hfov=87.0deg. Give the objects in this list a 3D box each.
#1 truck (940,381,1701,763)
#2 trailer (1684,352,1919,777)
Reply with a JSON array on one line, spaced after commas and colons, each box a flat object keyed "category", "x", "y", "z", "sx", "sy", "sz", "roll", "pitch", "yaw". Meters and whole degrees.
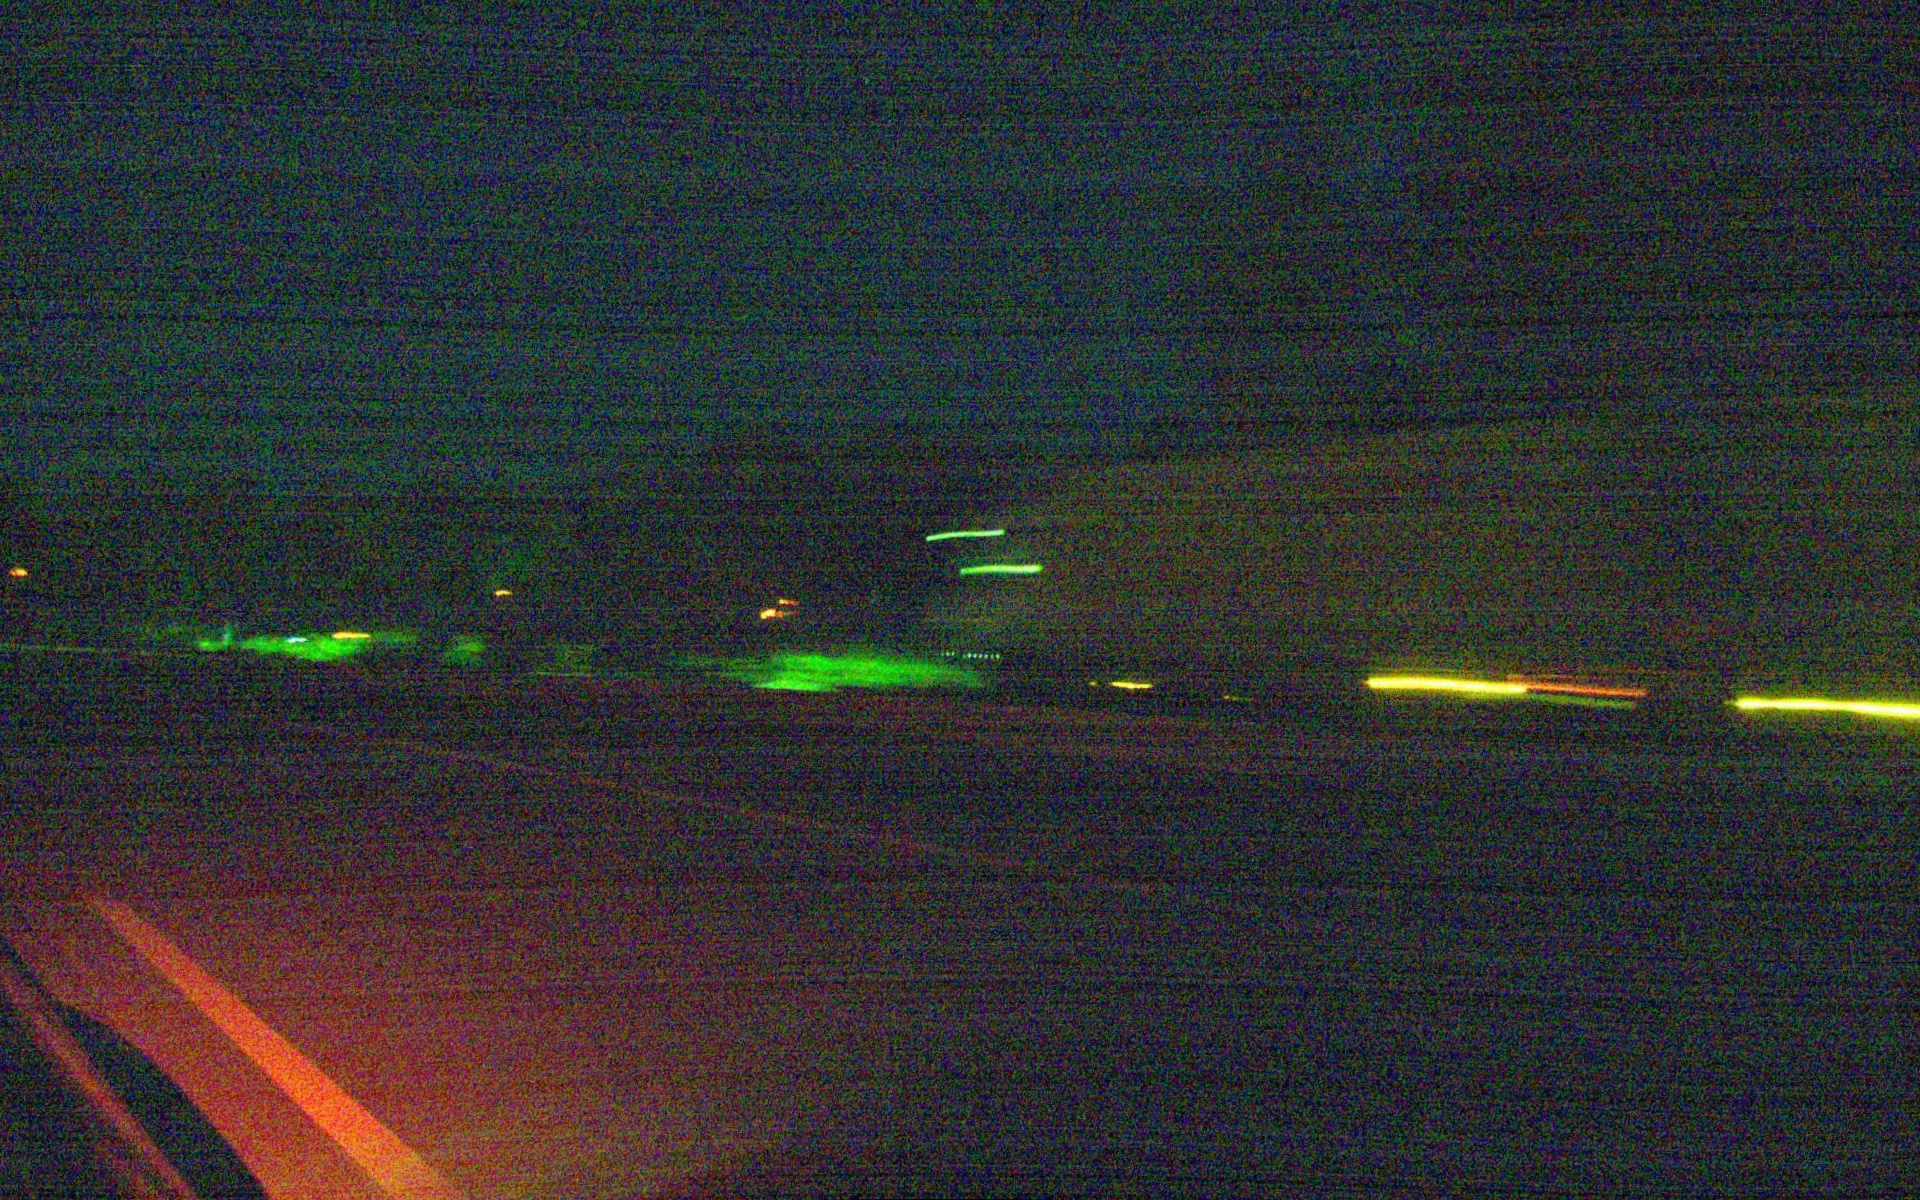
[{"category": "truck", "x": 4.479, "y": -0.167, "z": 15.343, "sx": 10.650, "sy": 4.075, "sz": 2.652, "roll": -2, "pitch": -2, "yaw": 42}, {"category": "trailer", "x": 11.934, "y": -0.375, "z": 8.662, "sx": 9.044, "sy": 3.987, "sz": 2.688, "roll": -2, "pitch": -2, "yaw": 42}]
